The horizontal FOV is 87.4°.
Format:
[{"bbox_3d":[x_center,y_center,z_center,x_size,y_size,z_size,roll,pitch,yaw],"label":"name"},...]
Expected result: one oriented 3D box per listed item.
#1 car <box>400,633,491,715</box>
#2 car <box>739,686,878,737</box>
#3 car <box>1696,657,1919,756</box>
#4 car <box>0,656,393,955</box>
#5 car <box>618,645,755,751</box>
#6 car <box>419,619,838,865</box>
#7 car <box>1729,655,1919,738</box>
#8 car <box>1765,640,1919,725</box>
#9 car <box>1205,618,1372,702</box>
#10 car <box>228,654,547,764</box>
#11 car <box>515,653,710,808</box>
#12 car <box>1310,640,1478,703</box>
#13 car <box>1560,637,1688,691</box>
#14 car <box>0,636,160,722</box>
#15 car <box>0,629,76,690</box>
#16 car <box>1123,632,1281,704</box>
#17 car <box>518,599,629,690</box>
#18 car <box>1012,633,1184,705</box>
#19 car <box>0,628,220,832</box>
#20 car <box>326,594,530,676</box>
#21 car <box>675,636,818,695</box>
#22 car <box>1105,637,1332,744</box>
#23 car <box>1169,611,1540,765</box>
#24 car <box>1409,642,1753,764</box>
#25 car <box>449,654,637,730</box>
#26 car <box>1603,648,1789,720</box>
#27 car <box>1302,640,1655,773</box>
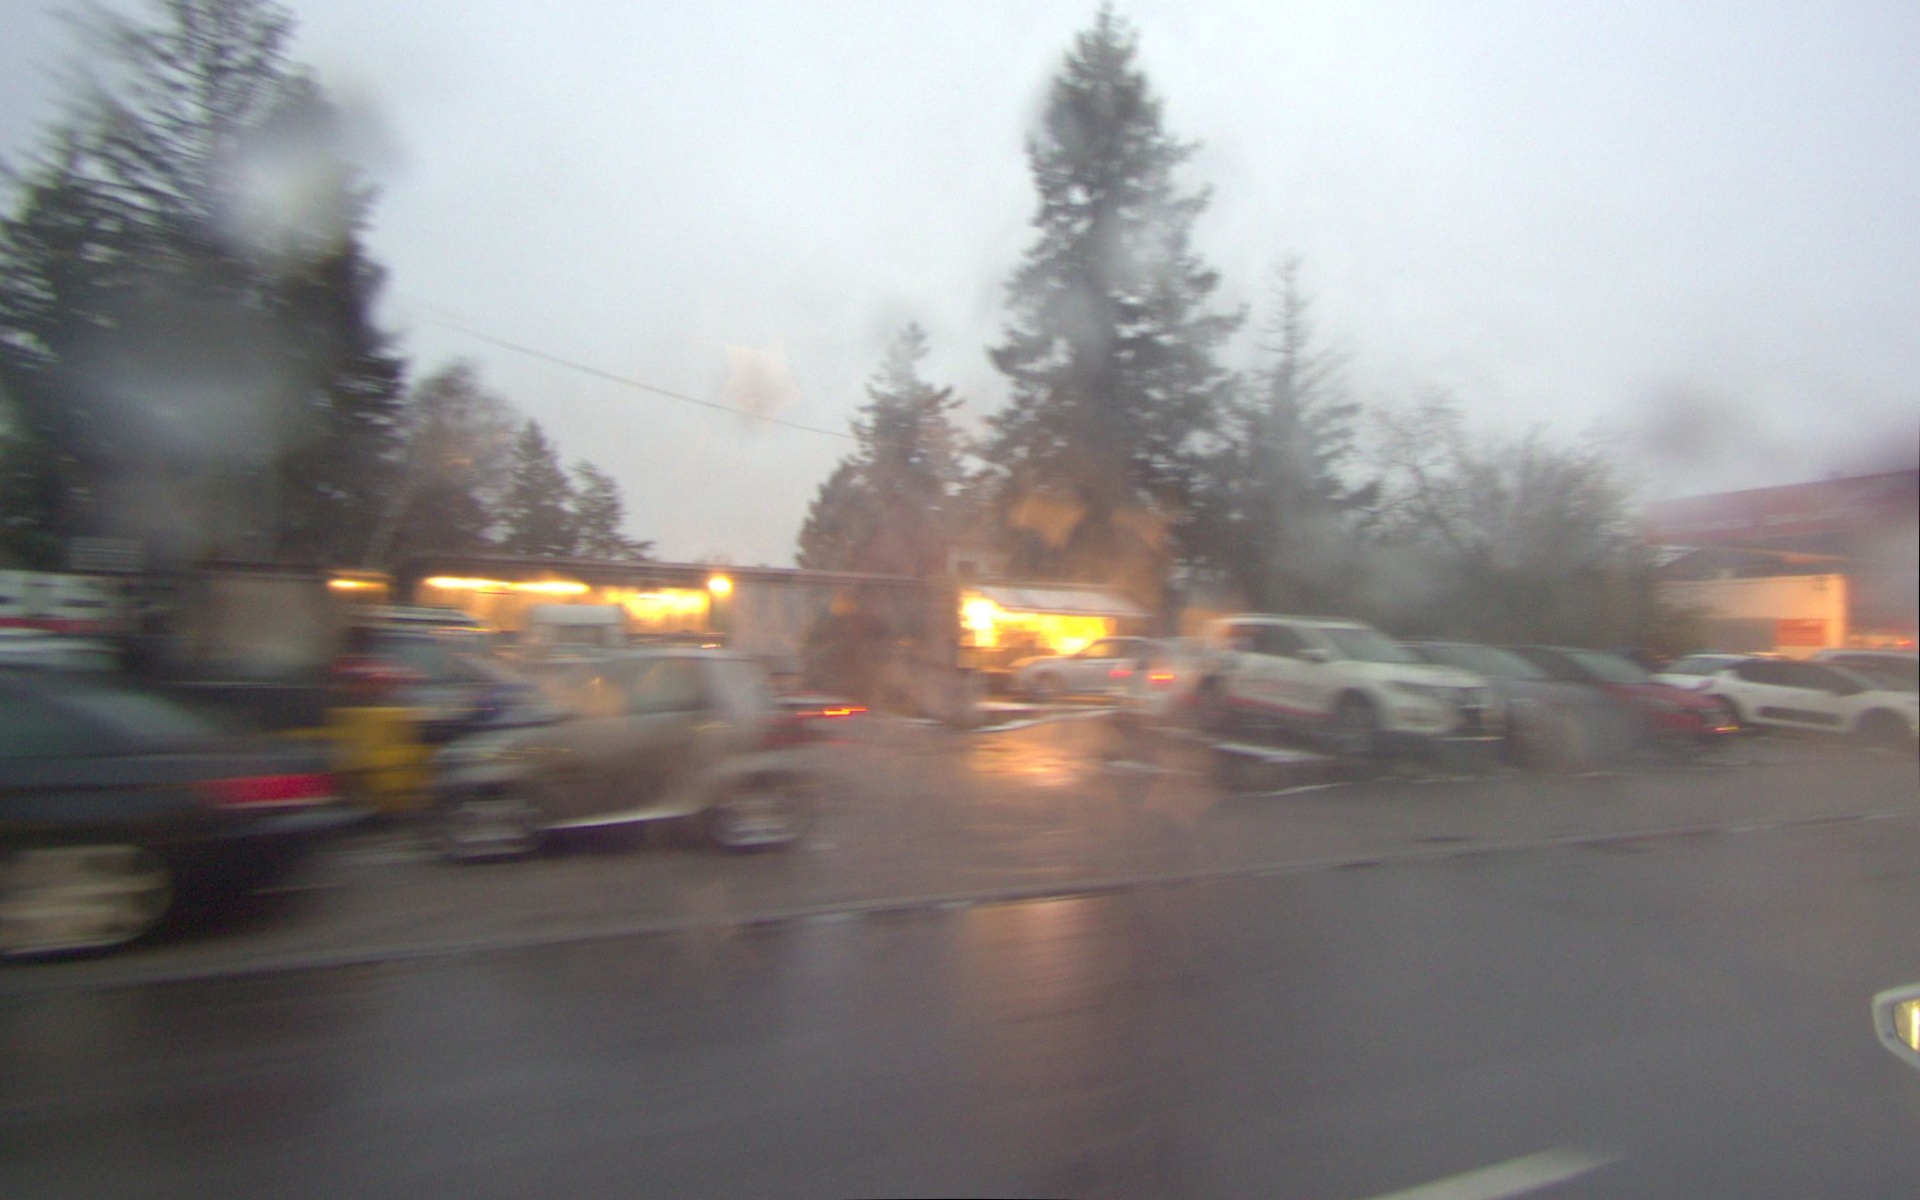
[{"bbox_3d":[-11.706,1.635,22.920,1.669,1.705,3.668,2,-3,-27],"label":"car"},{"bbox_3d":[-2.680,1.954,17.816,2.236,0.807,0.989,2,-3,-28],"label":"car"},{"bbox_3d":[16.006,1.873,18.362,1.752,1.479,3.761,2,-1,-25],"label":"car"},{"bbox_3d":[-5.358,0.941,5.013,4.200,1.338,1.566,4,-5,-25],"label":"car"},{"bbox_3d":[-4.586,1.546,16.637,1.335,1.568,3.141,1,-3,-32],"label":"car"},{"bbox_3d":[-2.432,1.022,7.758,2.822,1.666,1.172,1,-3,-15],"label":"car"},{"bbox_3d":[17.743,1.855,19.682,1.814,1.363,3.850,2,-1,-23],"label":"car"},{"bbox_3d":[19.931,1.734,21.328,1.912,1.671,4.042,2,-2,-20],"label":"car"},{"bbox_3d":[8.225,1.446,25.505,1.930,1.947,3.979,2,-1,-22],"label":"car"},{"bbox_3d":[-7.926,1.495,14.287,3.586,1.416,1.668,2,-3,-16],"label":"car"},{"bbox_3d":[-4.314,1.376,11.987,1.758,1.456,4.744,2,-4,-24],"label":"car"},{"bbox_3d":[11.631,1.888,27.200,1.930,1.484,3.979,2,-1,-22],"label":"car"},{"bbox_3d":[20.809,1.963,31.497,3.528,1.593,1.616,1,-1,-21],"label":"car"},{"bbox_3d":[-15.349,1.284,16.610,3.133,1.349,1.400,2,-3,-32],"label":"car"},{"bbox_3d":[-20.680,1.264,21.909,1.327,1.234,2.792,2,-2,-26],"label":"car"},{"bbox_3d":[5.762,1.593,24.394,1.763,1.530,3.979,2,-1,-22],"label":"car"},{"bbox_3d":[-10.780,1.204,27.820,2.240,2.311,4.212,2,-2,-30],"label":"car"},{"bbox_3d":[3.022,1.460,21.845,3.549,1.402,1.676,1,-2,11],"label":"car"},{"bbox_3d":[-8.336,1.076,8.992,1.784,1.496,3.903,2,-5,-22],"label":"car"},{"bbox_3d":[-15.956,1.099,30.413,5.221,2.292,1.986,2,-2,-28],"label":"car"},{"bbox_3d":[-5.130,1.557,24.172,3.128,1.349,1.402,1,-3,-27],"label":"car"},{"bbox_3d":[4.541,1.539,17.625,3.656,1.698,1.664,2,-2,-25],"label":"car"},{"bbox_3d":[5.039,1.036,13.570,1.984,1.698,4.519,2,-2,-26],"label":"car"},{"bbox_3d":[9.304,1.459,15.504,1.799,1.518,4.328,2,-2,-22],"label":"car"},{"bbox_3d":[-8.600,1.838,20.751,3.398,1.423,1.526,2,-2,-31],"label":"car"},{"bbox_3d":[17.566,1.974,23.991,3.814,1.509,1.830,2,-1,-22],"label":"car"},{"bbox_3d":[7.137,1.380,14.396,1.964,1.518,4.331,2,-2,-20],"label":"car"}]
